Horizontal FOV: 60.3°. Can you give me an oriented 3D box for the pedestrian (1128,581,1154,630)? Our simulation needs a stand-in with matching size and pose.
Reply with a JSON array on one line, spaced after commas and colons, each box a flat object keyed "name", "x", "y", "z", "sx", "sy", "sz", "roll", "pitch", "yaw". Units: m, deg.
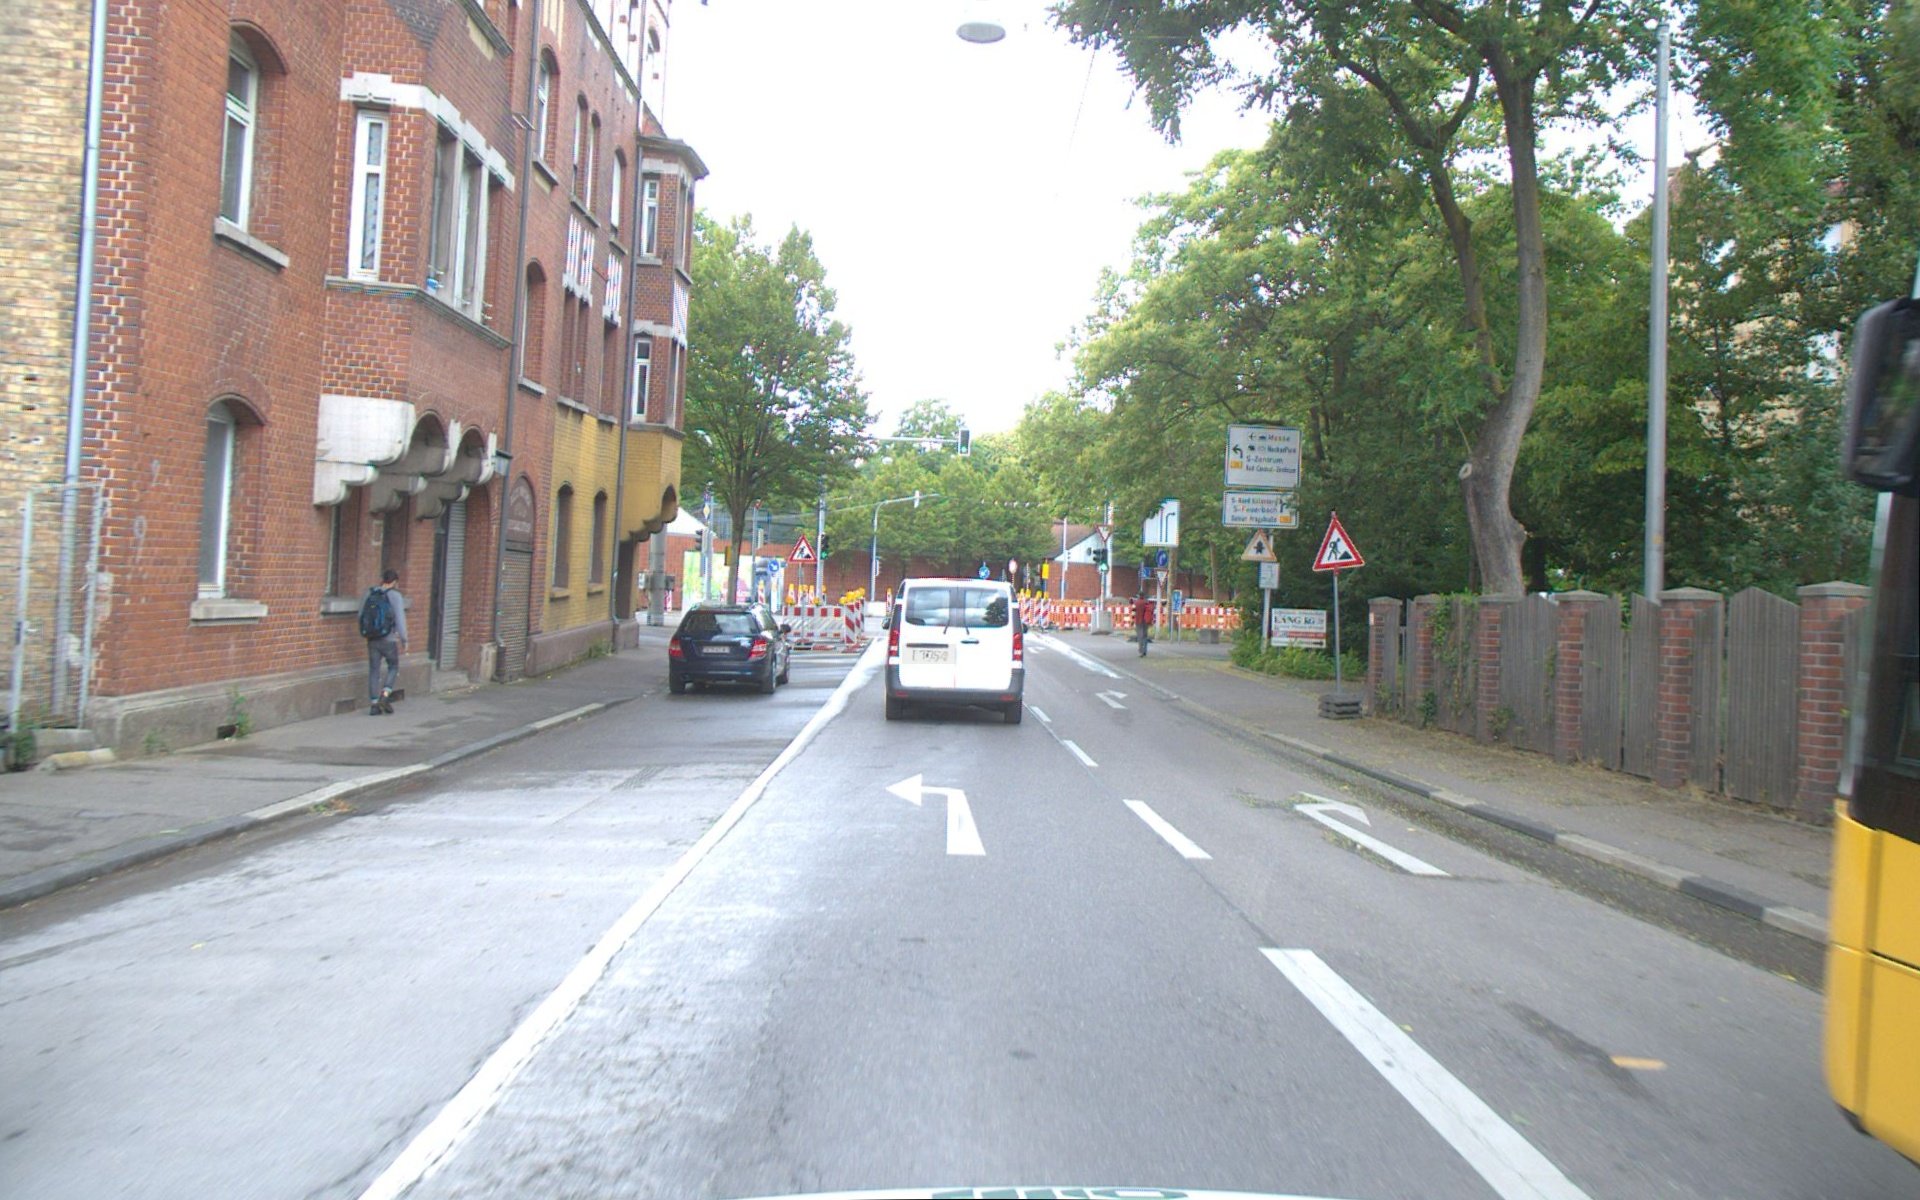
[{"name": "pedestrian", "x": 6.499, "y": 0.201, "z": 59.466, "sx": 0.717, "sy": 1.727, "sz": 0.836, "roll": 1, "pitch": 1, "yaw": -10}]

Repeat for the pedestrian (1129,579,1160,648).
[{"name": "pedestrian", "x": 5.042, "y": 0.354, "z": 45.267, "sx": 0.763, "sy": 1.863, "sz": 0.727, "roll": 0, "pitch": 1, "yaw": -1}]

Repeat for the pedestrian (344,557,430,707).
[{"name": "pedestrian", "x": -6.547, "y": 0.360, "z": 18.924, "sx": 0.646, "sy": 1.637, "sz": 0.632, "roll": 5, "pitch": 1, "yaw": -1}]

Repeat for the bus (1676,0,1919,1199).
[{"name": "bus", "x": 3.718, "y": 0.146, "z": 0.543, "sx": 2.618, "sy": 3.192, "sz": 9.216, "roll": 5, "pitch": 0, "yaw": -1}]

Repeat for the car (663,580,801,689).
[{"name": "car", "x": -3.851, "y": 0.529, "z": 28.579, "sx": 1.690, "sy": 1.511, "sz": 4.391, "roll": 4, "pitch": 2, "yaw": 0}]

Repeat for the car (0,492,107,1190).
[{"name": "car", "x": -3.302, "y": 0.589, "z": 2.147, "sx": 1.914, "sy": 1.764, "sz": 4.773, "roll": 3, "pitch": 1, "yaw": -1}]

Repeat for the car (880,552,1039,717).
[{"name": "car", "x": -0.077, "y": 0.507, "z": 23.512, "sx": 1.879, "sy": 1.934, "sz": 4.699, "roll": 5, "pitch": -2, "yaw": -2}]
